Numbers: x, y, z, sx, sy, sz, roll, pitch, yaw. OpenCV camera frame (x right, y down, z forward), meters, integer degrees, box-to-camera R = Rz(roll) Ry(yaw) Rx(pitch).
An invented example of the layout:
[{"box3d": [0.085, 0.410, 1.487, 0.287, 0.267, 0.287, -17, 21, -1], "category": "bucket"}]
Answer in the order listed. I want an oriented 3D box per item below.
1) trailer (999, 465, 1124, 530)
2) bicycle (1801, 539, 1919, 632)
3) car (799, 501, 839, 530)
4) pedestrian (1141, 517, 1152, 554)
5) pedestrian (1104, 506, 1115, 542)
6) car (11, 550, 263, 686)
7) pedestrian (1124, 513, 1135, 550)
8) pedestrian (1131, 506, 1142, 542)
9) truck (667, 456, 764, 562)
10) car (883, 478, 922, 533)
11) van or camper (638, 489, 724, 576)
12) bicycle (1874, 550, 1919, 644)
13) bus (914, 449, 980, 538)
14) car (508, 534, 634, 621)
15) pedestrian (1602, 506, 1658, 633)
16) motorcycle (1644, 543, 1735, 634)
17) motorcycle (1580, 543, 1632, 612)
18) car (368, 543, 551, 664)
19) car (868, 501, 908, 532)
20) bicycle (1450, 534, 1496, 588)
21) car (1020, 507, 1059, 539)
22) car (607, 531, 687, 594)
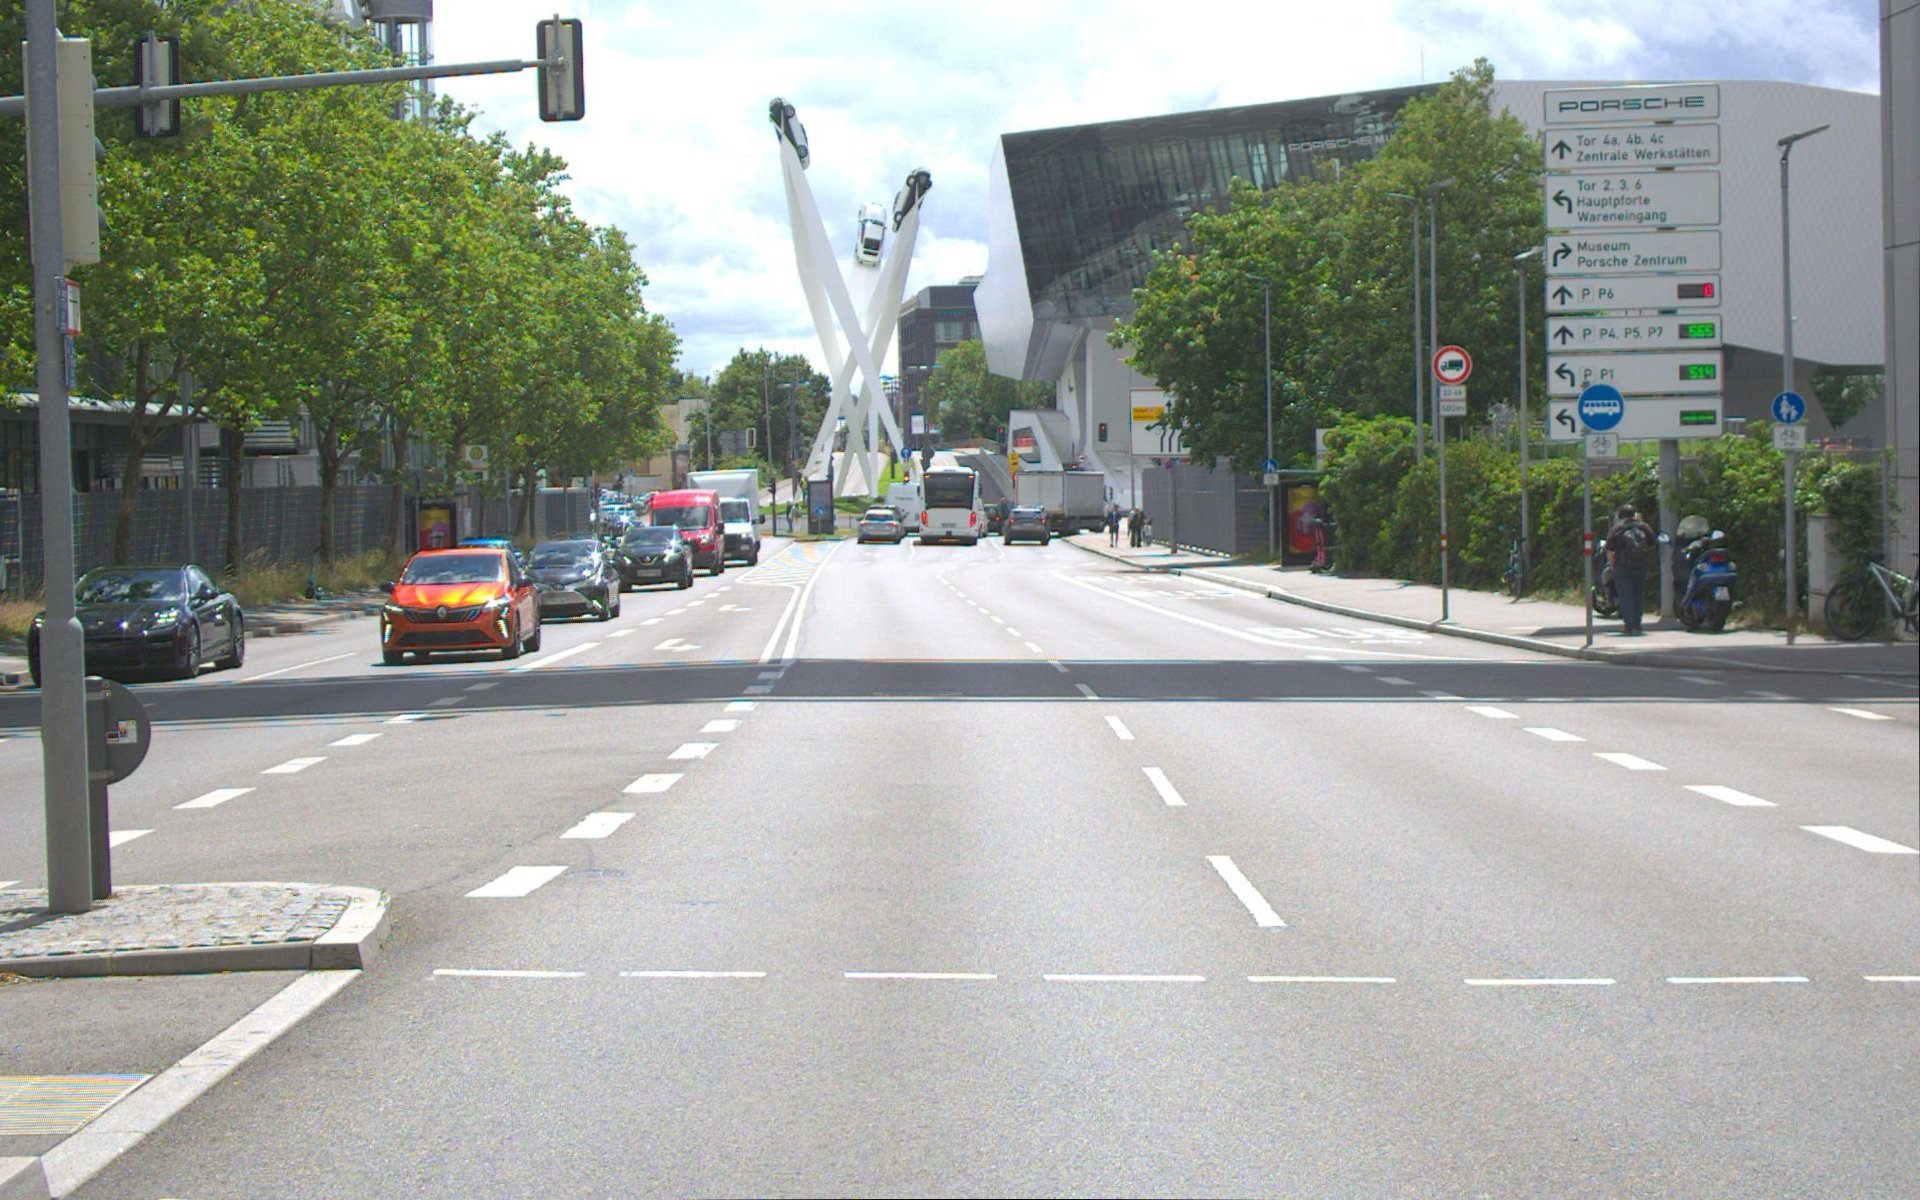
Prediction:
[{"box3d": [5.174, -5.108, 172.101, 3.322, 2.984, 10.366, 1, 1, 19], "category": "trailer"}, {"box3d": [11.165, -0.176, 40.870, 2.222, 1.083, 0.476, 1, 1, 35], "category": "bicycle"}, {"box3d": [-6.374, -3.821, 155.658, 1.557, 1.269, 3.701, -3, 1, 0], "category": "car"}, {"box3d": [7.221, -2.492, 132.888, 0.386, 1.416, 0.423, 1, 0, 0], "category": "pedestrian"}, {"box3d": [5.929, -3.006, 136.151, 0.386, 1.416, 0.423, 1, 0, 0], "category": "pedestrian"}, {"box3d": [-10.194, 0.177, 42.944, 1.917, 1.483, 4.772, -3, 1, 0], "category": "car"}, {"box3d": [6.541, -2.664, 132.919, 0.386, 1.416, 0.423, 1, 0, 0], "category": "pedestrian"}, {"box3d": [6.964, -2.993, 135.832, 0.386, 1.416, 0.423, 1, 0, 0], "category": "pedestrian"}, {"box3d": [-7.956, -2.935, 112.588, 2.591, 3.312, 7.079, 1, 1, 0], "category": "truck"}, {"box3d": [-2.852, -4.700, 171.156, 1.843, 2.614, 4.000, 1, 0, -1], "category": "car"}, {"box3d": [-8.128, -1.978, 100.475, 2.047, 2.458, 5.595, 0, 1, 0], "category": "van or camper"}, {"box3d": [11.694, -0.019, 39.594, 2.222, 1.083, 0.476, 1, 1, 35], "category": "bicycle"}, {"box3d": [-0.538, -4.601, 150.148, 2.787, 3.673, 6.943, 1, 1, 0], "category": "bus"}, {"box3d": [-6.970, -0.425, 61.877, 1.769, 1.415, 3.701, -3, 1, 0], "category": "car"}, {"box3d": [8.732, -0.402, 44.819, 0.533, 1.635, 0.658, 1, 0, -6], "category": "pedestrian"}, {"box3d": [9.541, -0.165, 45.024, 0.418, 1.162, 1.957, 1, 1, -11], "category": "motorcycle"}, {"box3d": [9.760, -0.343, 52.007, 0.457, 1.019, 1.912, 1, 1, 1], "category": "motorcycle"}, {"box3d": [-6.482, 0.017, 44.862, 1.769, 1.415, 3.701, -3, 1, 0], "category": "car"}, {"box3d": [-3.093, -3.609, 148.689, 1.557, 1.269, 3.701, -3, 1, 1], "category": "car"}, {"box3d": [9.732, -0.739, 65.265, 0.418, 1.019, 1.913, 1, 1, -5], "category": "bicycle"}, {"box3d": [3.366, -3.282, 146.088, 1.557, 1.269, 3.701, -3, 1, 1], "category": "car"}, {"box3d": [-7.722, -0.946, 85.136, 1.557, 1.443, 3.773, -3, 1, 0], "category": "car"}]
